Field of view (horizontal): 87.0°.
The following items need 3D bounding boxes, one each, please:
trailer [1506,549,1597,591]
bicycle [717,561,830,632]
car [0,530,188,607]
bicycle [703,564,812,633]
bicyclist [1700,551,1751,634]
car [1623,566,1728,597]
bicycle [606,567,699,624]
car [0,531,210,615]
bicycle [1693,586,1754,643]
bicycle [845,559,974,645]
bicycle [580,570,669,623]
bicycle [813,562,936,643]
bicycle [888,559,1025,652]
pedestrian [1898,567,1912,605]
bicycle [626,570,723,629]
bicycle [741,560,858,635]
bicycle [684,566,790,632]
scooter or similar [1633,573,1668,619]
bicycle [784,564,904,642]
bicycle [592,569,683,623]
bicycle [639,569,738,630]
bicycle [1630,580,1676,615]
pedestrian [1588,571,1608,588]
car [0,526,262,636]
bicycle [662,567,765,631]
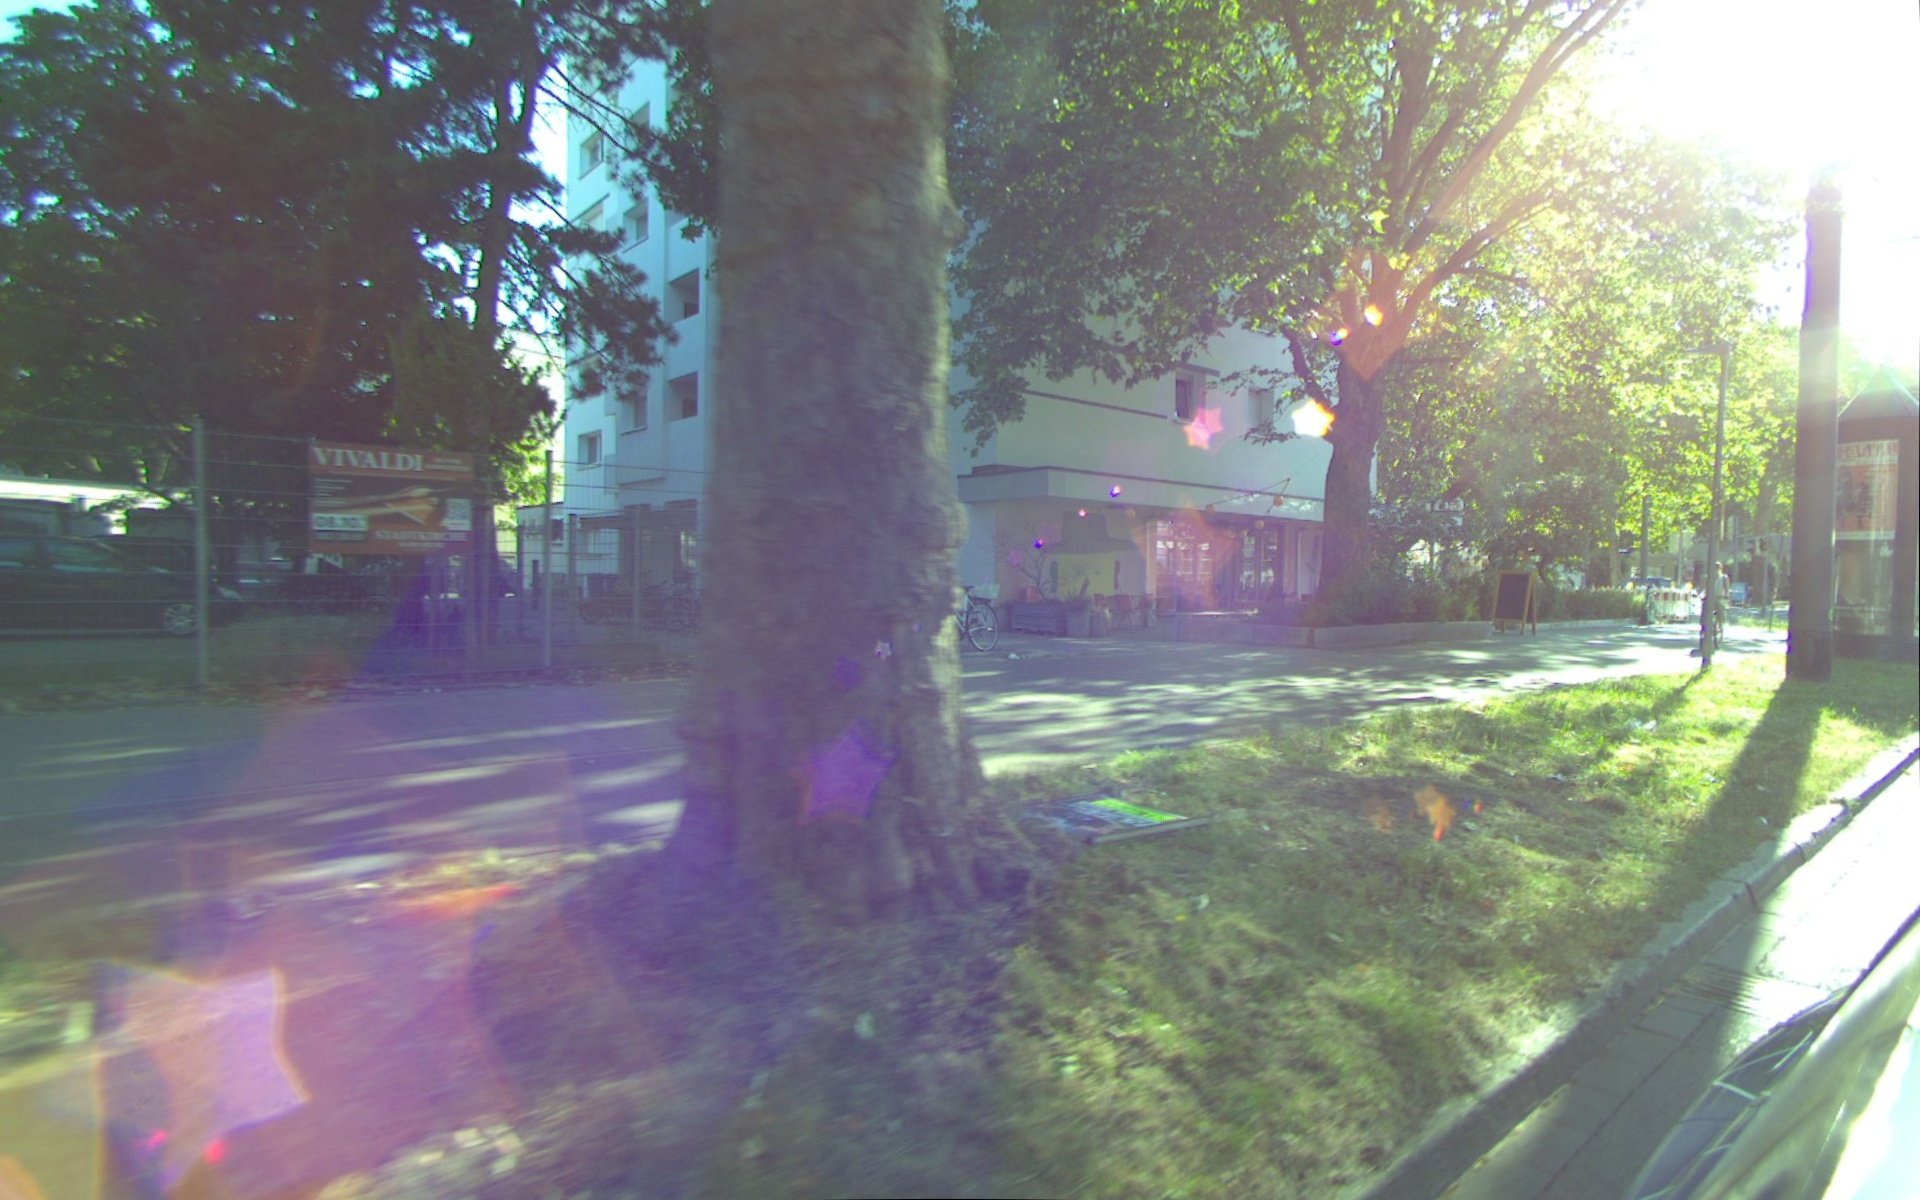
[{"bbox_3d":[34.706,-1.762,59.500,4.474,2.403,1.895,1,1,28],"label":"trailer"},{"bbox_3d":[-3.254,-0.070,17.730,1.789,1.192,0.790,-1,0,-41],"label":"bicycle"},{"bbox_3d":[-18.419,-0.609,20.743,3.935,1.471,1.995,-1,1,-44],"label":"car"},{"bbox_3d":[-3.682,-0.036,18.461,1.789,1.192,0.790,-1,0,-41],"label":"bicycle"},{"bbox_3d":[14.777,-0.161,19.524,0.845,1.570,0.604,-1,2,-42],"label":"bicyclist"},{"bbox_3d":[39.956,-1.013,56.679,4.537,1.660,1.917,-1,0,28],"label":"car"},{"bbox_3d":[-6.724,-0.103,22.193,1.789,1.192,0.790,-1,0,-41],"label":"bicycle"},{"bbox_3d":[-16.713,-0.484,19.067,3.935,1.471,1.995,-1,1,-44],"label":"car"},{"bbox_3d":[14.709,0.256,19.478,1.736,1.039,0.604,-1,2,-42],"label":"bicycle"},{"bbox_3d":[-0.729,0.015,14.963,1.789,1.192,0.790,-1,0,-41],"label":"bicycle"},{"bbox_3d":[-7.803,-0.101,23.564,1.789,1.192,0.790,-1,0,-41],"label":"bicycle"},{"bbox_3d":[-1.311,0.026,15.719,1.789,1.192,0.790,-1,0,-41],"label":"bicycle"},{"bbox_3d":[-0.027,0.051,13.884,1.789,1.192,0.790,-1,0,-41],"label":"bicycle"},{"bbox_3d":[41.860,-0.633,44.835,0.427,1.660,0.604,0,0,42],"label":"pedestrian"},{"bbox_3d":[-6.010,-0.033,21.359,1.789,1.192,0.790,-1,0,-41],"label":"bicycle"},{"bbox_3d":[-2.675,-0.056,16.973,1.789,1.192,0.790,-1,0,-41],"label":"bicycle"},{"bbox_3d":[-4.203,-0.038,19.126,1.789,1.192,0.790,-1,0,-41],"label":"bicycle"},{"bbox_3d":[19.832,-0.130,29.053,1.269,1.272,0.561,-2,4,-45],"label":"scooter or similar"},{"bbox_3d":[-1.868,0.027,16.409,1.789,1.192,0.790,-1,0,-41],"label":"bicycle"},{"bbox_3d":[-7.276,-0.102,22.884,1.789,1.192,0.790,-1,0,-41],"label":"bicycle"},{"bbox_3d":[-5.534,-0.033,20.665,1.789,1.192,0.790,-1,0,-41],"label":"bicycle"},{"bbox_3d":[21.391,-0.078,31.272,0.597,1.039,1.943,2,1,17],"label":"bicycle"},{"bbox_3d":[50.302,-1.621,79.817,0.777,1.256,1.140,-1,0,-41],"label":"pedestrian"},{"bbox_3d":[-12.861,-0.266,14.948,3.935,1.471,1.995,-1,1,-44],"label":"car"},{"bbox_3d":[-4.835,-0.036,19.904,1.789,1.192,0.790,-1,0,-41],"label":"bicycle"}]
